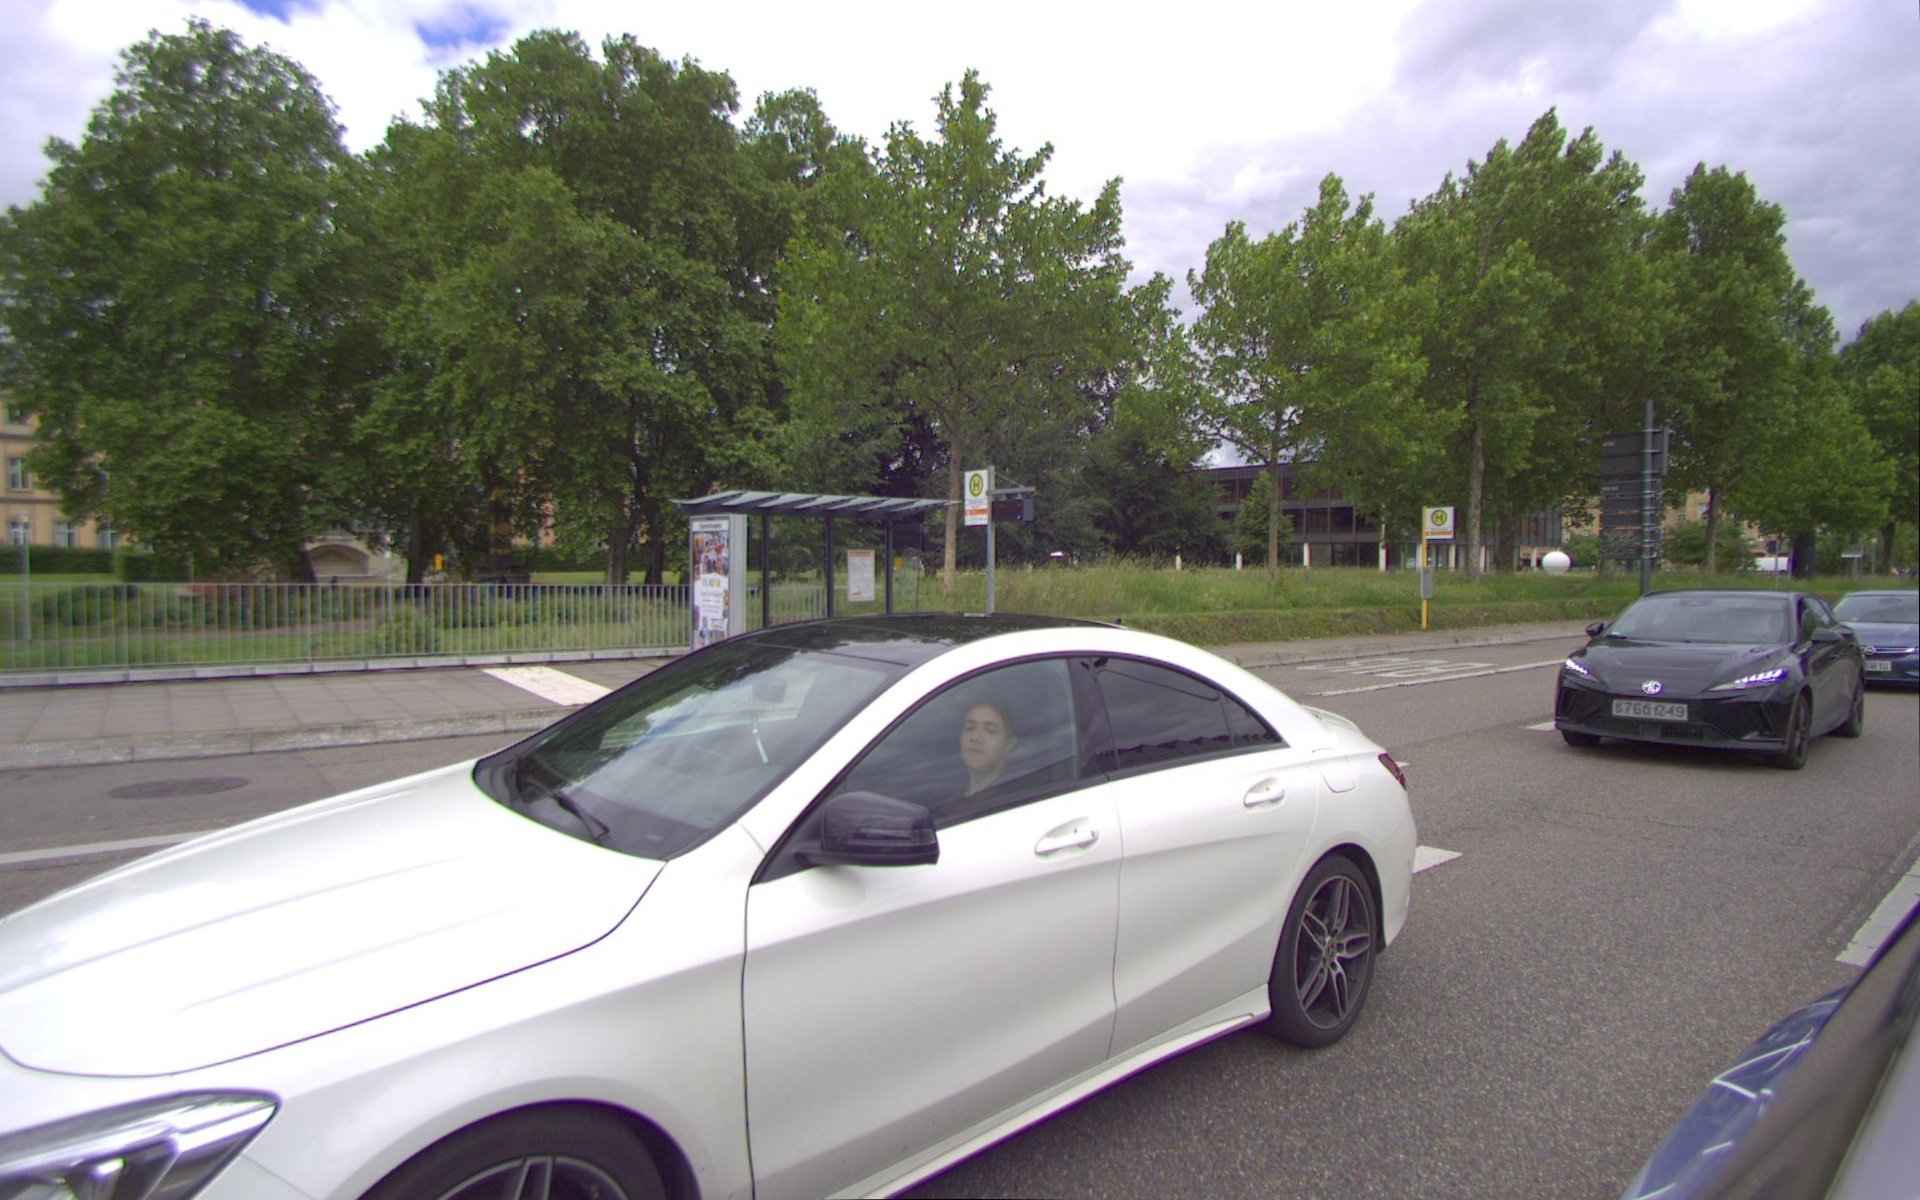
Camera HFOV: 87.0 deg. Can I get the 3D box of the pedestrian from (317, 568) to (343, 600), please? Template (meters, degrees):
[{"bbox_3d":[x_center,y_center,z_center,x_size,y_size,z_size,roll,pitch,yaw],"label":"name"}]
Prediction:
[{"bbox_3d":[-41.805,-1.053,67.165,1.090,2.039,0.938,-1,0,17],"label":"pedestrian"}]

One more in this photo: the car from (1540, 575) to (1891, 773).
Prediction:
[{"bbox_3d":[7.428,0.525,9.821,4.020,1.508,1.852,-1,2,-40],"label":"car"}]

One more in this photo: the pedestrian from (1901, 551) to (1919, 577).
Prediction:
[{"bbox_3d":[74.711,-2.821,79.589,1.160,2.039,0.891,-2,0,-40],"label":"pedestrian"}]

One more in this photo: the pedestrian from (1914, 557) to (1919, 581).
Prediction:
[{"bbox_3d":[82.134,-2.667,86.372,1.160,2.039,0.891,-2,0,-40],"label":"pedestrian"}]

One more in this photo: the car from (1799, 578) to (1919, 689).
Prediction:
[{"bbox_3d":[14.159,0.415,15.123,3.944,1.452,1.804,-1,2,-40],"label":"car"}]

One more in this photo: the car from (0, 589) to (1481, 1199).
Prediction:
[{"bbox_3d":[-0.263,0.723,3.212,4.446,1.437,1.799,-1,2,-39],"label":"car"}]
